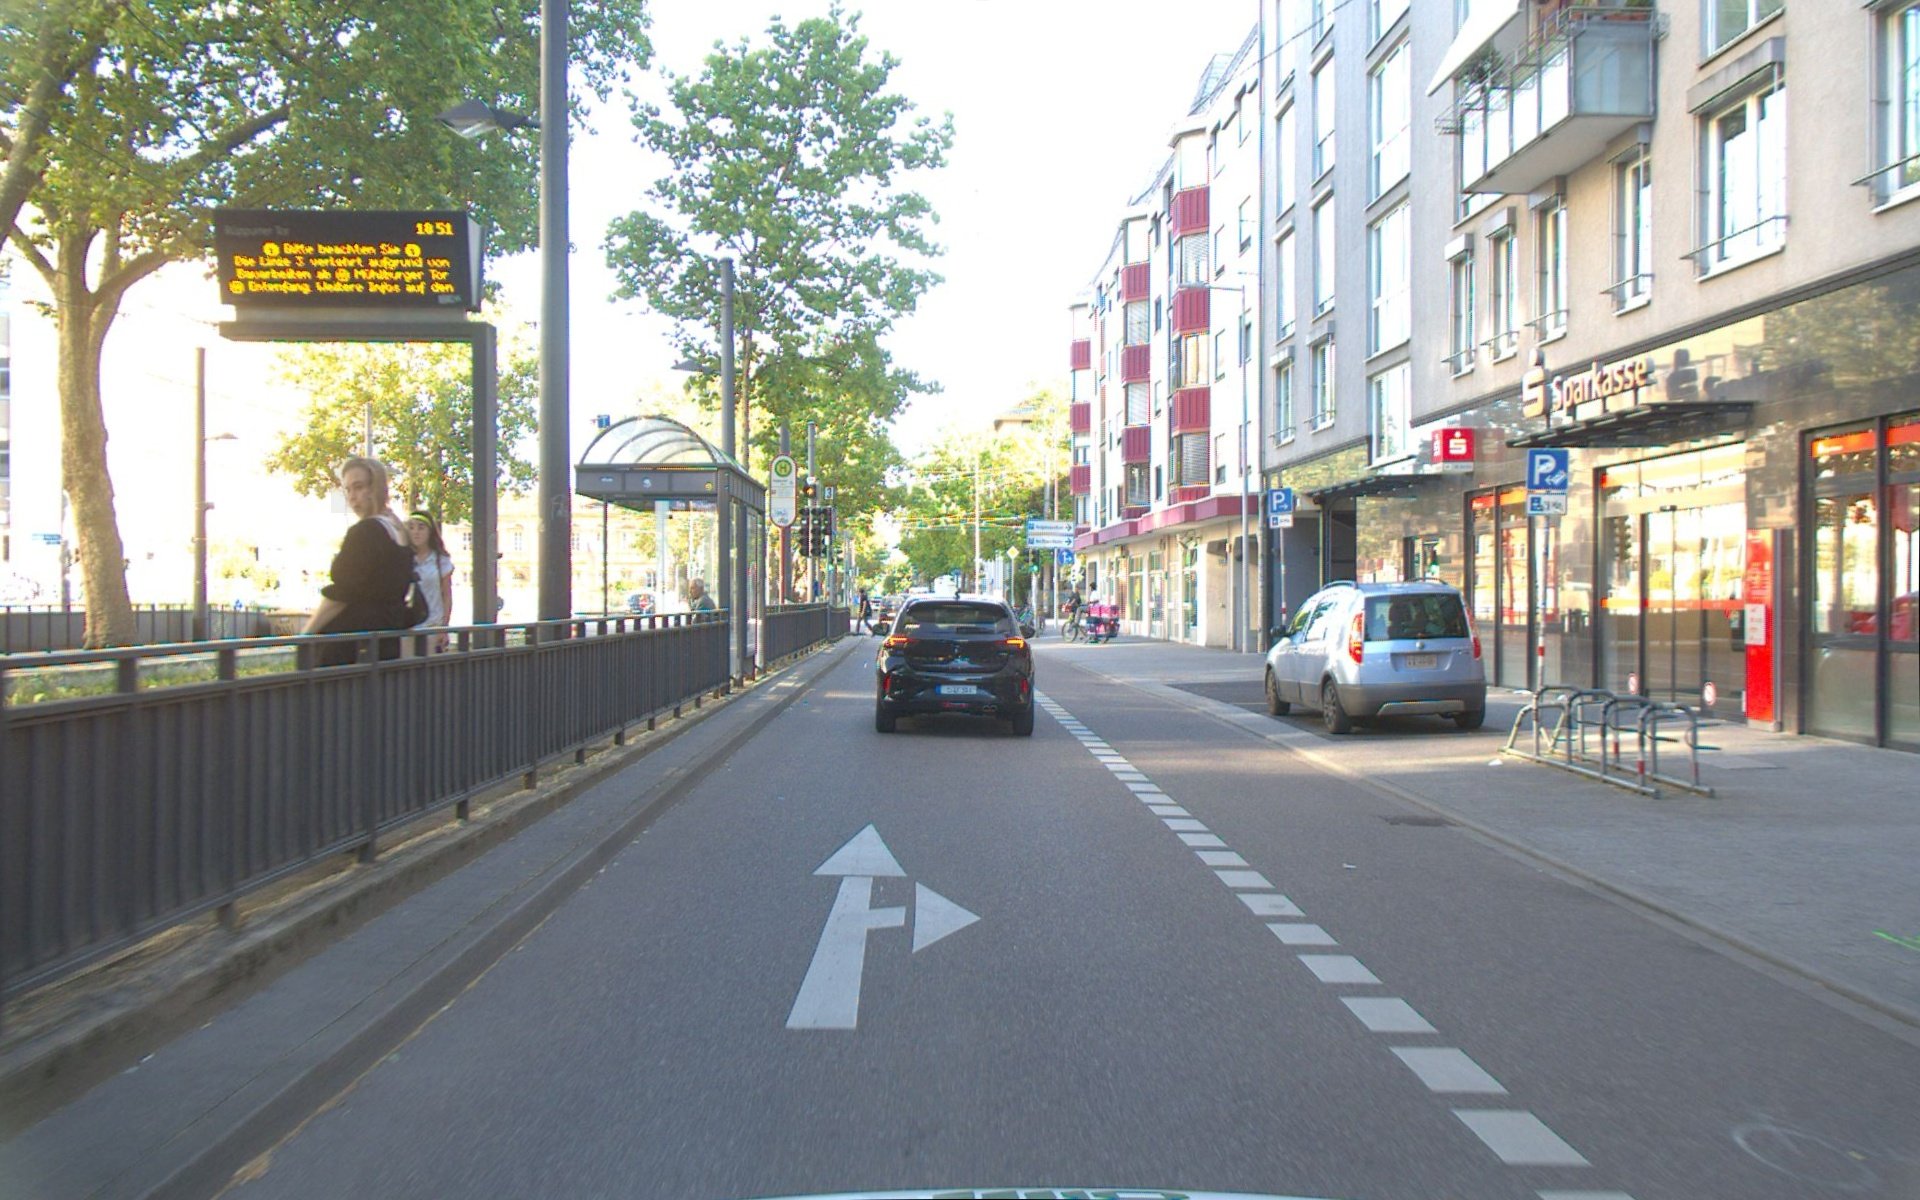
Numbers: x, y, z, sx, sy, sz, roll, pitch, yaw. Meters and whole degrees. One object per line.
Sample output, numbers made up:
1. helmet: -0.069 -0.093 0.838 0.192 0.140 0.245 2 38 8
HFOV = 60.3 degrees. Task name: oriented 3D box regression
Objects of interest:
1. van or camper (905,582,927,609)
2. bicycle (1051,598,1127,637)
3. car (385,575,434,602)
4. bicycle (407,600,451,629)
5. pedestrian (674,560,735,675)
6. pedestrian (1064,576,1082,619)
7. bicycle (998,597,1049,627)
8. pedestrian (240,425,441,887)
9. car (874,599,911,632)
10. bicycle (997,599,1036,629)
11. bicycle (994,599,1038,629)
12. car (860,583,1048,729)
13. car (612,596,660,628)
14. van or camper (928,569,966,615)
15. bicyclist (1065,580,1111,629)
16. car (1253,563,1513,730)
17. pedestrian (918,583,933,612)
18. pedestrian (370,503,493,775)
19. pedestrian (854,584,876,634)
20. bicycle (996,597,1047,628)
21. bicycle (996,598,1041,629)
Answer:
1. van or camper: -5.135 -0.486 194.956 2.436 3.046 5.432 2 0 -1
2. bicycle: 4.093 0.543 52.790 0.954 1.204 2.561 0 0 -39
3. car: -41.540 -0.867 125.011 1.952 2.049 4.726 0 0 2
4. bicycle: -17.608 0.468 54.858 0.796 0.962 1.726 0 0 4
5. pedestrian: -3.036 0.205 19.716 0.613 1.342 0.801 0 0 -1
6. pedestrian: 4.926 -0.105 72.131 0.708 1.890 0.800 0 0 -3
7. bicycle: 2.470 0.469 64.392 1.902 1.191 0.571 0 0 -5
8. pedestrian: -2.679 0.231 7.214 0.633 1.920 0.661 0 0 -2
9. car: -3.497 0.771 86.194 1.795 1.651 4.283 1 0 -1
10. bicycle: 2.271 0.555 66.472 1.589 1.220 0.496 0 0 2
11. bicycle: 2.275 0.567 67.221 1.764 1.220 0.546 0 -1 2
12. car: -0.103 0.556 18.587 1.866 1.450 4.214 0 0 -1
13. car: -20.969 0.745 107.197 1.951 1.982 4.426 0 0 4
14. van or camper: -0.988 -0.567 121.476 2.328 3.179 7.546 -3 0 -3
15. bicyclist: 4.090 0.139 52.793 1.050 1.567 1.064 0 0 -39
16. car: 4.765 0.483 19.281 1.796 1.651 4.283 -3 0 -1
17. pedestrian: -2.440 -0.188 117.485 1.015 2.059 1.211 0 0 -3
18. pedestrian: -3.818 0.275 11.993 0.632 1.904 0.753 1 0 -1
19. pedestrian: -3.394 0.332 59.150 0.719 1.777 0.712 0 0 3
20. bicycle: 2.410 0.495 65.035 1.939 1.220 0.590 0 0 -7
21. bicycle: 2.337 0.533 65.903 1.793 1.242 0.496 0 0 1
